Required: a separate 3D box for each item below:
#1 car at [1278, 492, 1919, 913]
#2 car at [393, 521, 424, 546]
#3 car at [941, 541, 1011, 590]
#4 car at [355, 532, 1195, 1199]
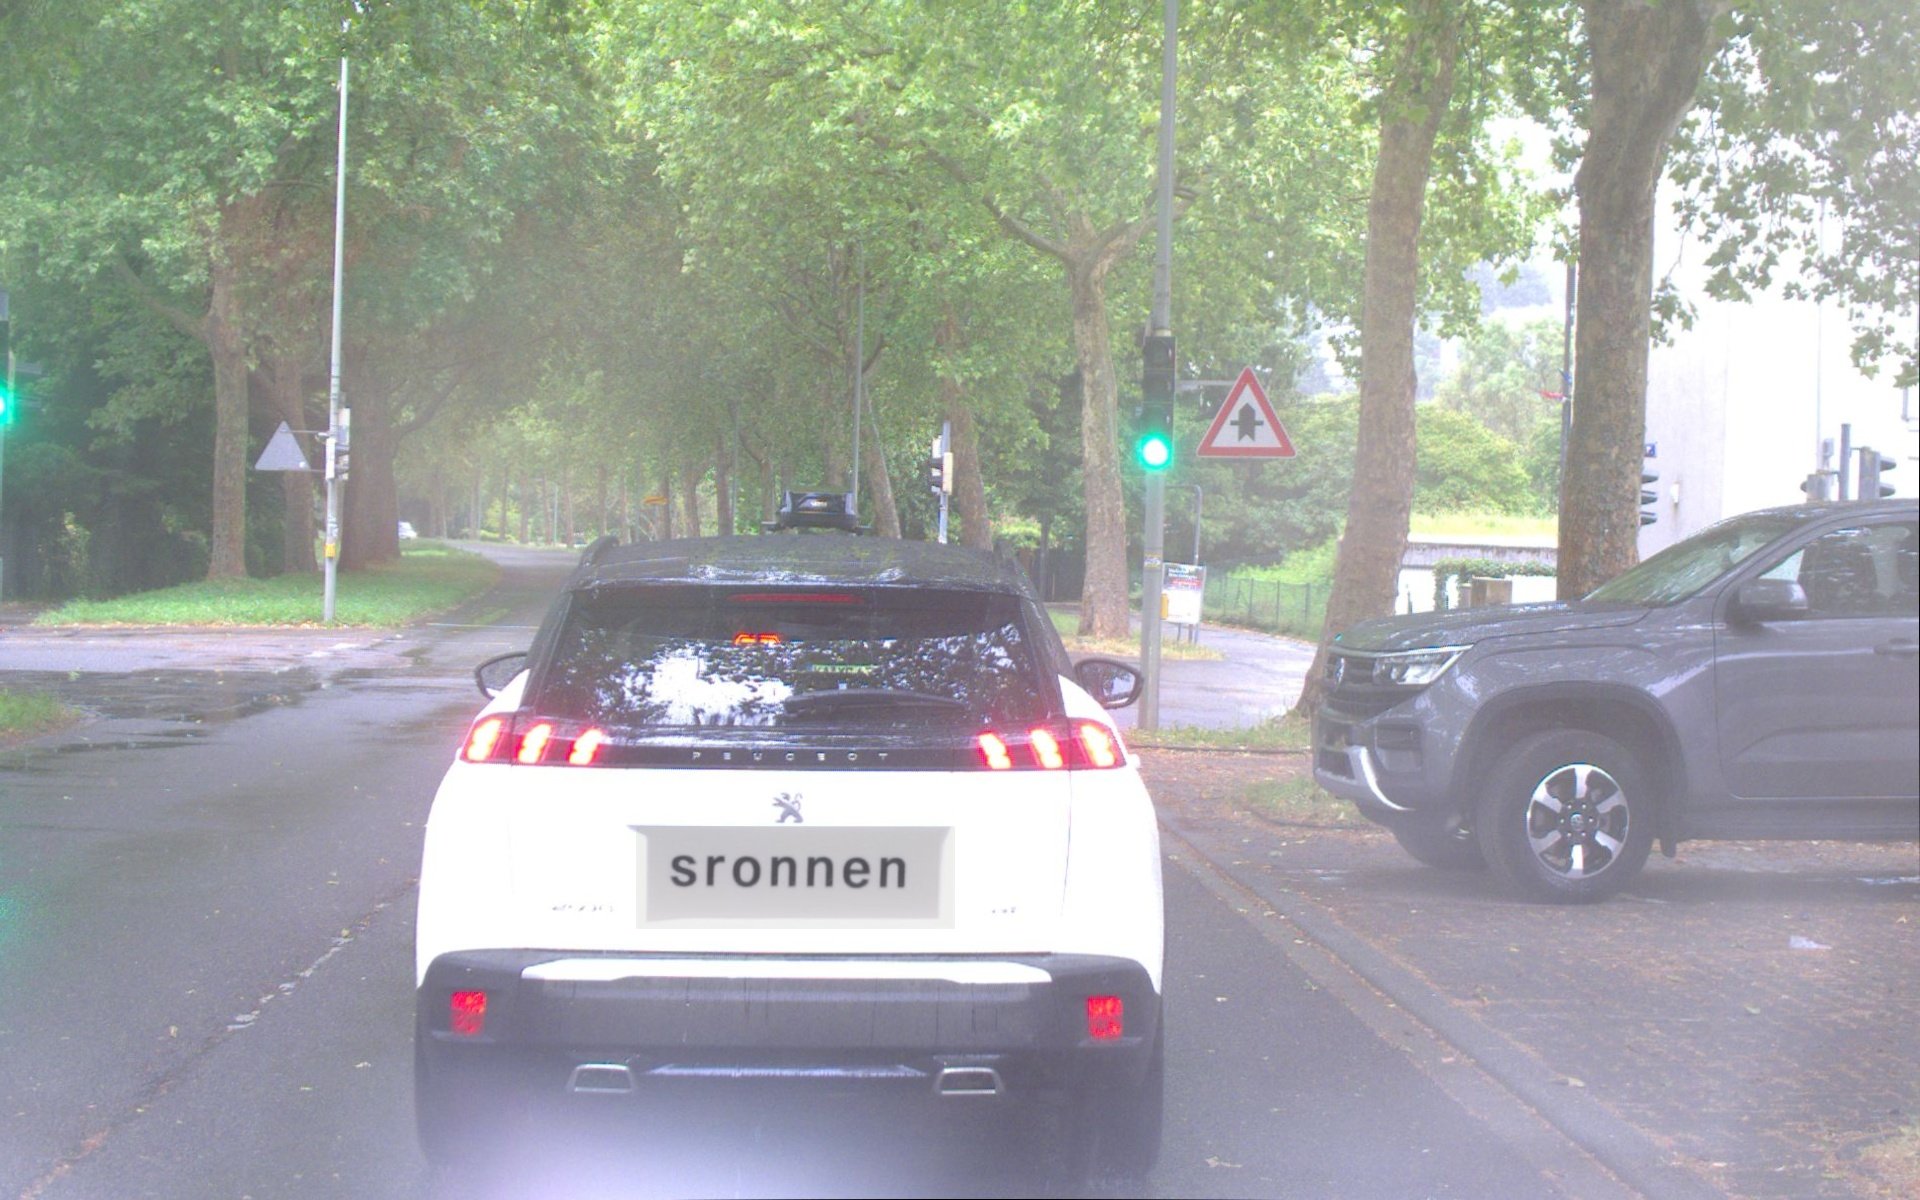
[{"bbox_3d":[4.311,0.453,15.967,5.337,1.800,1.846,1,1,-7],"label":"car"},{"bbox_3d":[-39.465,-4.758,245.960,1.873,1.671,3.709,2,1,-5],"label":"car"},{"bbox_3d":[0.510,-1.133,111.572,1.905,1.504,3.932,2,1,-5],"label":"car"},{"bbox_3d":[-0.436,0.603,9.427,1.780,1.531,4.058,1,1,-1],"label":"car"}]
